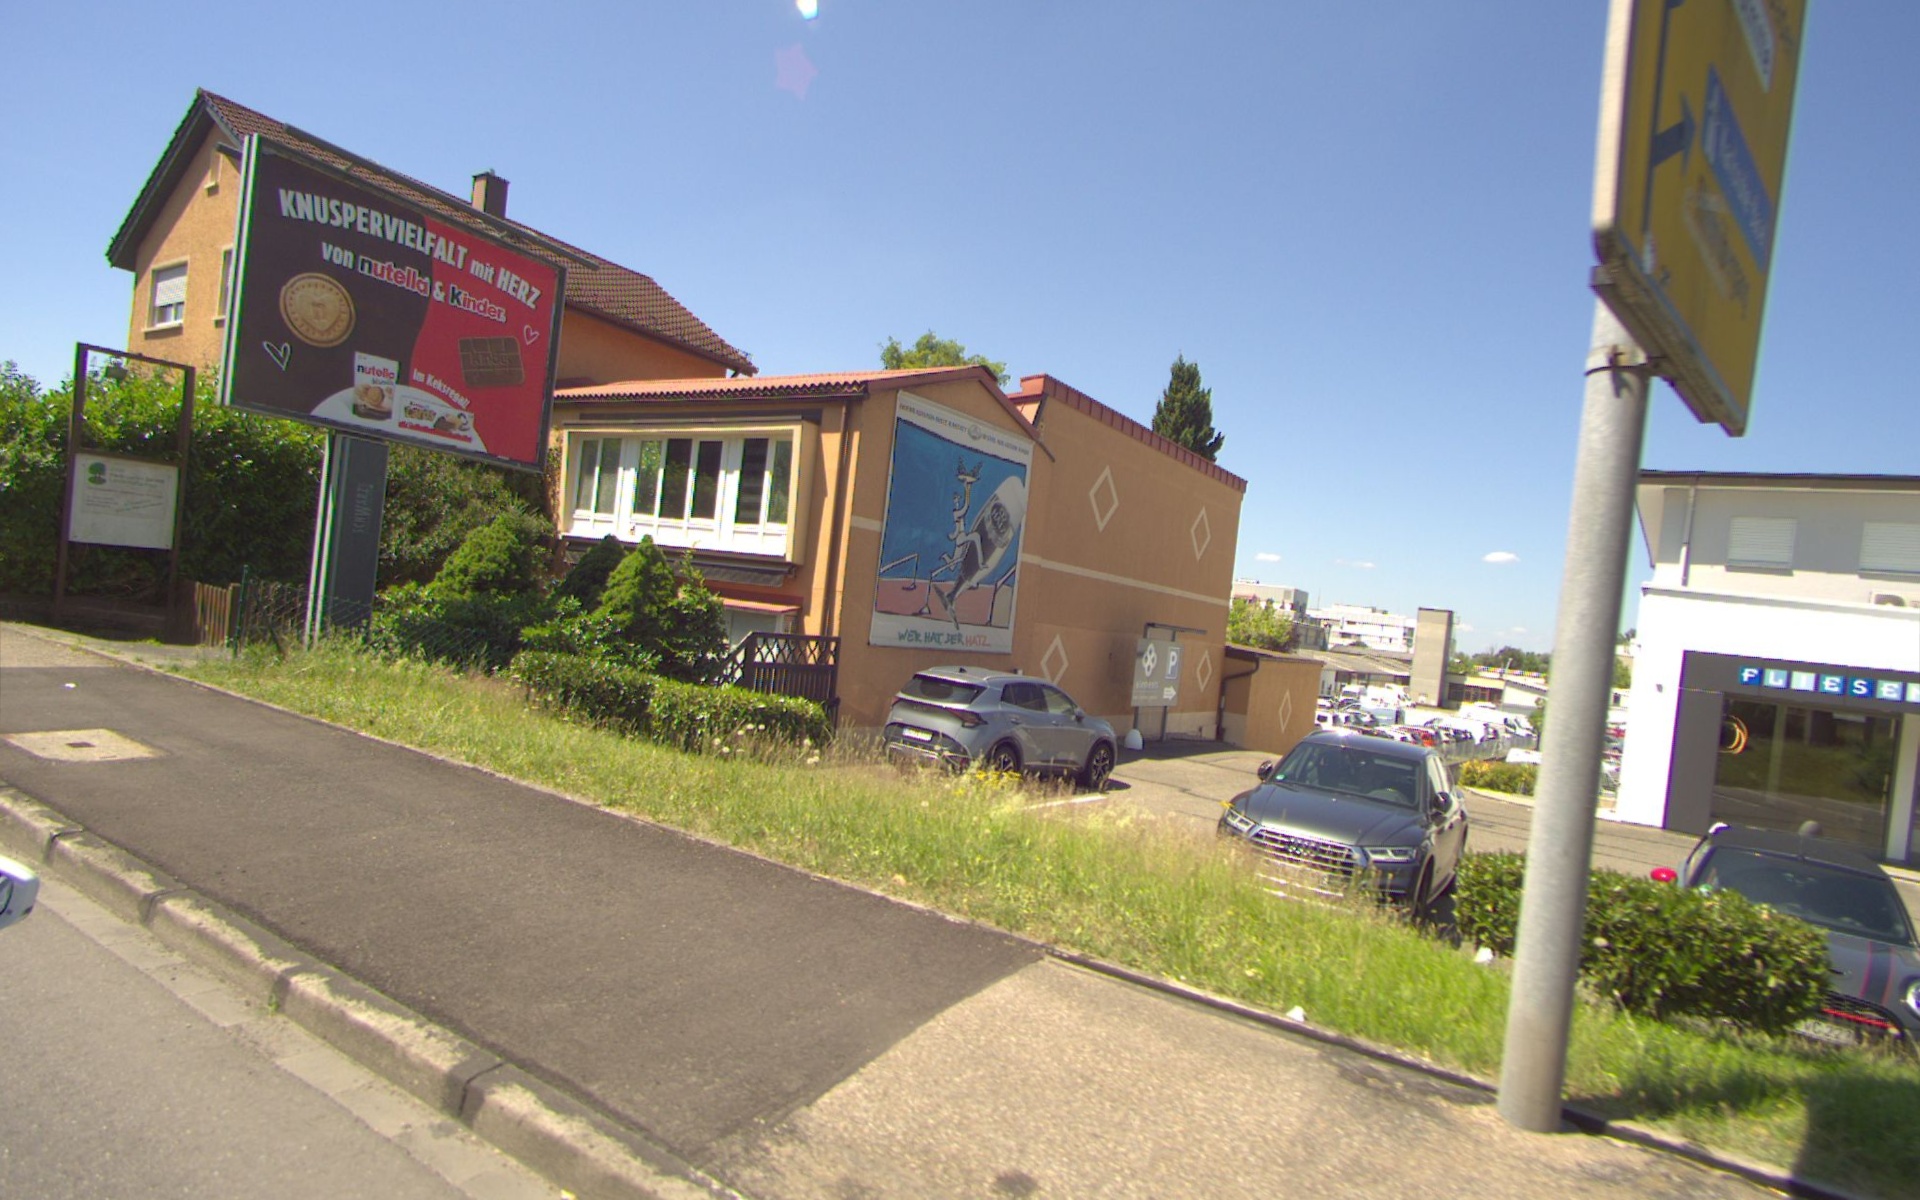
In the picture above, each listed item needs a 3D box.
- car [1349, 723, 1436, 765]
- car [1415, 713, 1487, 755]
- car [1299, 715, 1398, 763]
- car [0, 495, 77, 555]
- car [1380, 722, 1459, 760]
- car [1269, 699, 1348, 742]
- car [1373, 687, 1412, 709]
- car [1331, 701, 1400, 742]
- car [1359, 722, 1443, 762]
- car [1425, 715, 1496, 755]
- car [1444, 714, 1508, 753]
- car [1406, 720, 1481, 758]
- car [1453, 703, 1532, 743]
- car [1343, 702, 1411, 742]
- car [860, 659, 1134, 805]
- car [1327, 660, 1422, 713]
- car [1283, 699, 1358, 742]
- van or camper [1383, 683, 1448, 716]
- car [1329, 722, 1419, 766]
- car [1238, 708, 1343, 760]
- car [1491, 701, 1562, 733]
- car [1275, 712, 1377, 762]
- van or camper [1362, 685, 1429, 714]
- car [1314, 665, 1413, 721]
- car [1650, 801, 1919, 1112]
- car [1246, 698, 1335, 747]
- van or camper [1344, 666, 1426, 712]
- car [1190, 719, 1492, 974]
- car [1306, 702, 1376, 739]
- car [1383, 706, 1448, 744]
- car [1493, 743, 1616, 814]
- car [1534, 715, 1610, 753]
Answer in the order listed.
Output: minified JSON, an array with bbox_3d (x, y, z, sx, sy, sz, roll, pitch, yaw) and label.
[{"bbox_3d":[21.718,7.227,50.525,3.639,1.475,1.720,6,-3,36],"label":"car"},{"bbox_3d":[32.425,8.816,66.446,3.868,2.138,1.720,6,-2,36],"label":"car"},{"bbox_3d":[17.167,6.111,44.458,3.639,1.475,1.720,6,-3,36],"label":"car"},{"bbox_3d":[-29.143,-2.451,30.027,1.915,1.483,3.619,7,-4,28],"label":"car"},{"bbox_3d":[25.576,7.850,56.037,3.639,1.475,1.720,6,-3,36],"label":"car"},{"bbox_3d":[20.415,7.035,58.913,3.868,1.884,1.720,6,-2,36],"label":"car"},{"bbox_3d":[52.232,11.852,121.519,3.934,2.037,1.997,6,-2,32],"label":"car"},{"bbox_3d":[27.522,8.215,68.321,3.868,2.143,1.720,6,-2,36],"label":"car"},{"bbox_3d":[23.051,7.408,52.626,3.639,1.475,1.720,6,-3,36],"label":"car"},{"bbox_3d":[31.761,8.562,63.896,3.639,1.912,1.720,6,-2,36],"label":"car"},{"bbox_3d":[36.379,9.393,70.899,3.628,2.143,1.696,6,-2,36],"label":"car"},{"bbox_3d":[28.825,8.266,60.017,3.639,1.611,1.720,6,-3,36],"label":"car"},{"bbox_3d":[43.509,10.036,82.232,5.272,2.364,2.414,6,-2,36],"label":"car"},{"bbox_3d":[29.050,8.489,70.123,3.868,2.143,1.720,6,-2,36],"label":"car"},{"bbox_3d":[0.700,1.918,15.119,1.856,1.660,4.227,6,-1,38],"label":"car"},{"bbox_3d":[40.028,8.349,97.237,7.526,3.968,3.509,6,-2,36],"label":"car"},{"bbox_3d":[22.698,7.563,63.348,3.934,2.037,1.997,6,-2,32],"label":"car"},{"bbox_3d":[62.044,13.540,137.058,7.246,3.341,3.343,6,-2,36],"label":"van or camper"},{"bbox_3d":[19.943,6.912,48.493,3.639,1.475,1.720,6,-3,36],"label":"car"},{"bbox_3d":[13.535,5.480,41.286,3.639,1.506,1.720,6,-3,36],"label":"car"},{"bbox_3d":[58.133,11.988,103.262,6.044,2.436,2.502,6,-2,35],"label":"car"},{"bbox_3d":[15.519,5.799,42.702,3.639,1.506,1.720,6,-3,36],"label":"car"},{"bbox_3d":[56.686,12.952,131.013,7.246,2.622,3.343,6,-3,36],"label":"van or camper"},{"bbox_3d":[37.370,8.580,93.207,7.526,3.968,3.509,6,-2,36],"label":"car"},{"bbox_3d":[6.855,2.692,8.364,1.601,1.400,3.970,6,-1,33],"label":"car"},{"bbox_3d":[17.155,6.339,52.251,3.868,1.884,1.720,6,-2,36],"label":"car"},{"bbox_3d":[47.209,9.883,111.836,7.526,3.968,3.509,6,-2,36],"label":"van or camper"},{"bbox_3d":[4.172,2.256,10.459,1.853,1.683,4.599,6,-1,33],"label":"car"},{"bbox_3d":[25.313,7.997,66.821,3.868,1.884,1.720,6,-2,36],"label":"car"},{"bbox_3d":[33.209,9.097,73.349,3.868,2.143,1.720,6,-2,36],"label":"car"},{"bbox_3d":[25.709,7.719,43.526,4.325,2.362,2.219,8,-1,-21],"label":"car"},{"bbox_3d":[52.881,11.575,86.924,5.272,2.364,2.414,6,-2,36],"label":"car"}]
